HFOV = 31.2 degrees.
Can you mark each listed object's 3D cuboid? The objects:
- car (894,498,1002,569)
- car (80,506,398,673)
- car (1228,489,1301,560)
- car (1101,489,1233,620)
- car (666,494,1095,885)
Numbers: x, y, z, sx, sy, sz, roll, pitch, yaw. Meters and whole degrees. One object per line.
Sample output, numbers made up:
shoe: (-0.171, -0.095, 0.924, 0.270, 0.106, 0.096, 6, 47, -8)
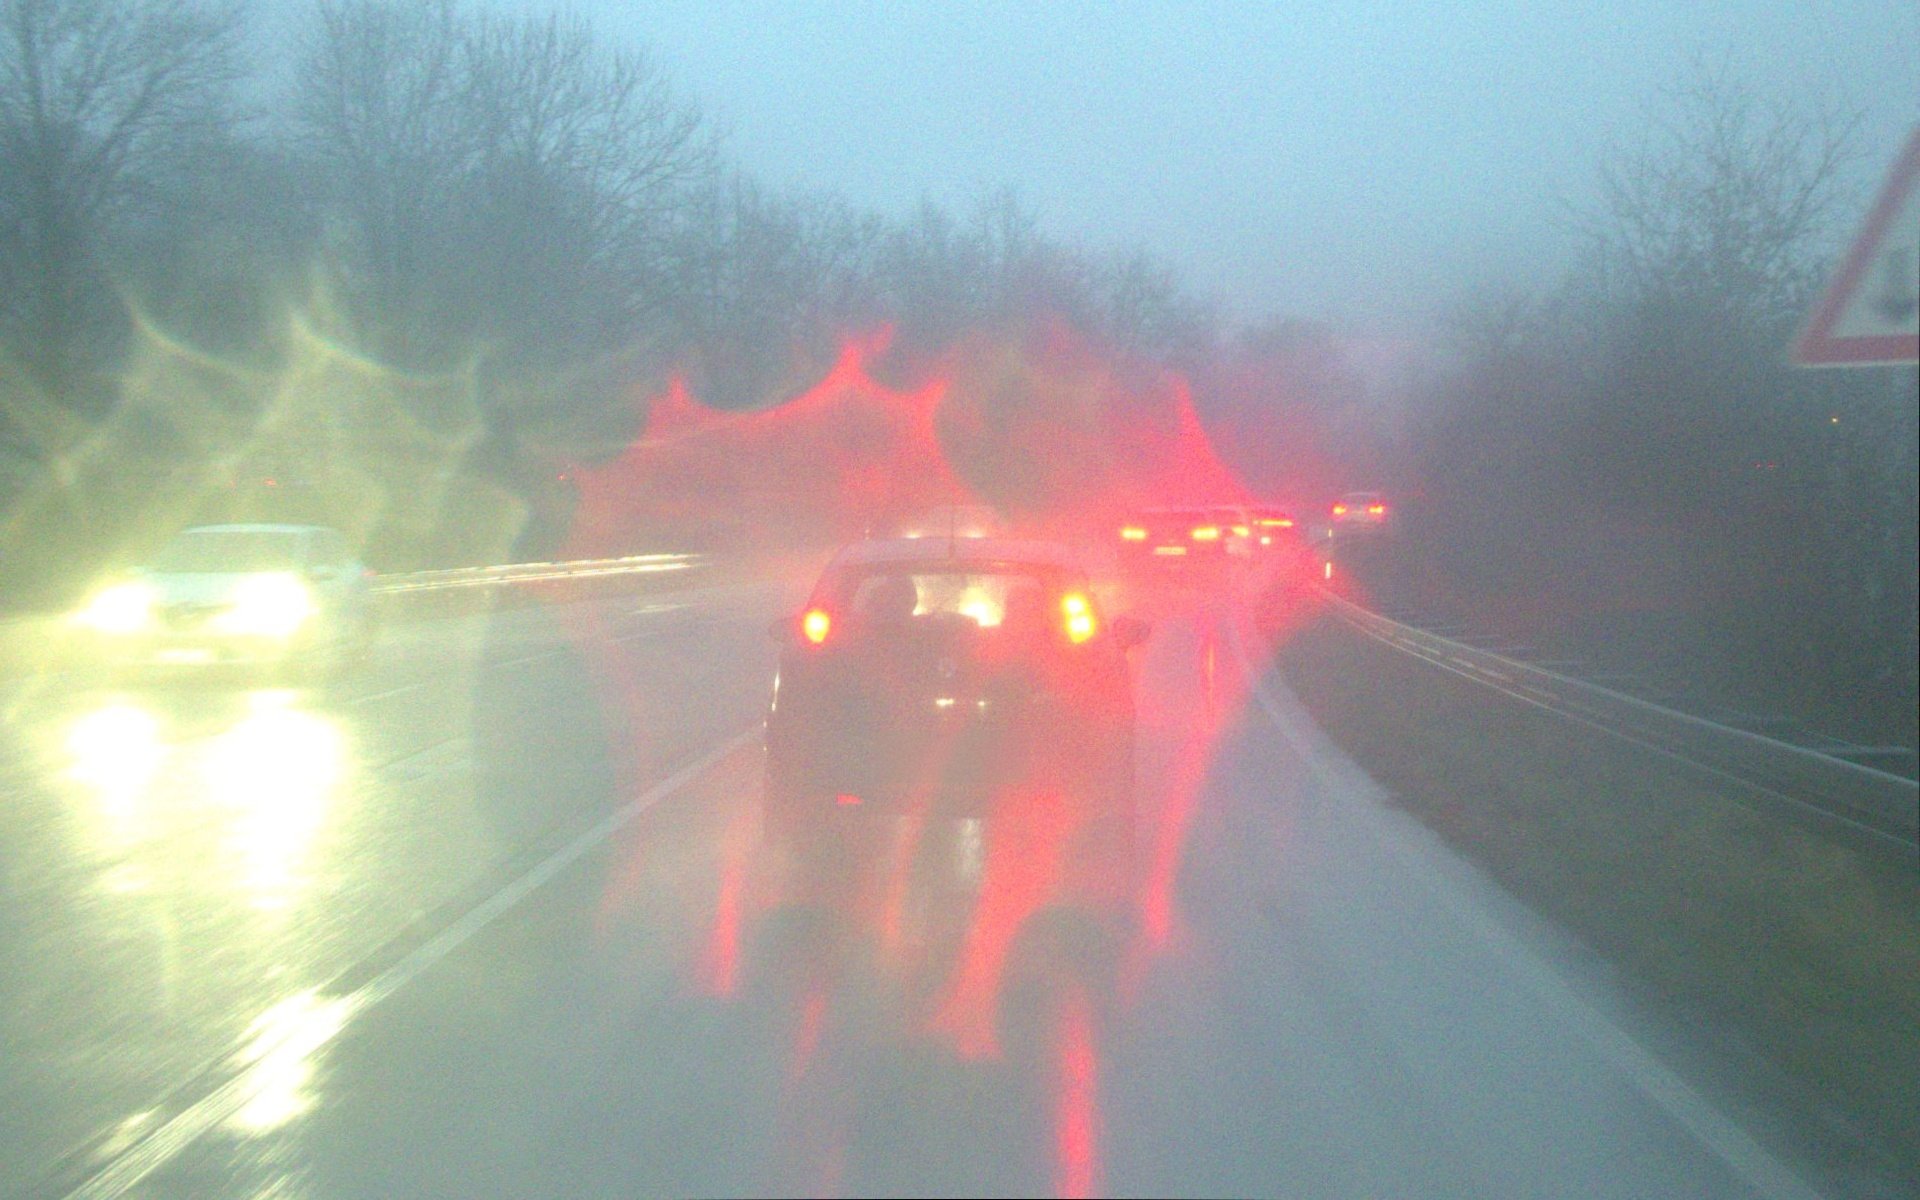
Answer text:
car: (-0.233, -1.482, 75.414, 1.864, 1.496, 4.521, -1, 2, 6)
car: (-6.768, -0.138, 32.757, 1.993, 1.485, 4.382, 0, 1, 2)
car: (8.380, -2.103, 94.597, 1.946, 1.738, 4.000, -1, 4, 5)
car: (3.326, -0.763, 55.885, 1.946, 2.007, 4.000, -2, 1, 1)
car: (-0.315, 0.322, 16.767, 1.730, 1.527, 4.043, -4, 2, 1)
